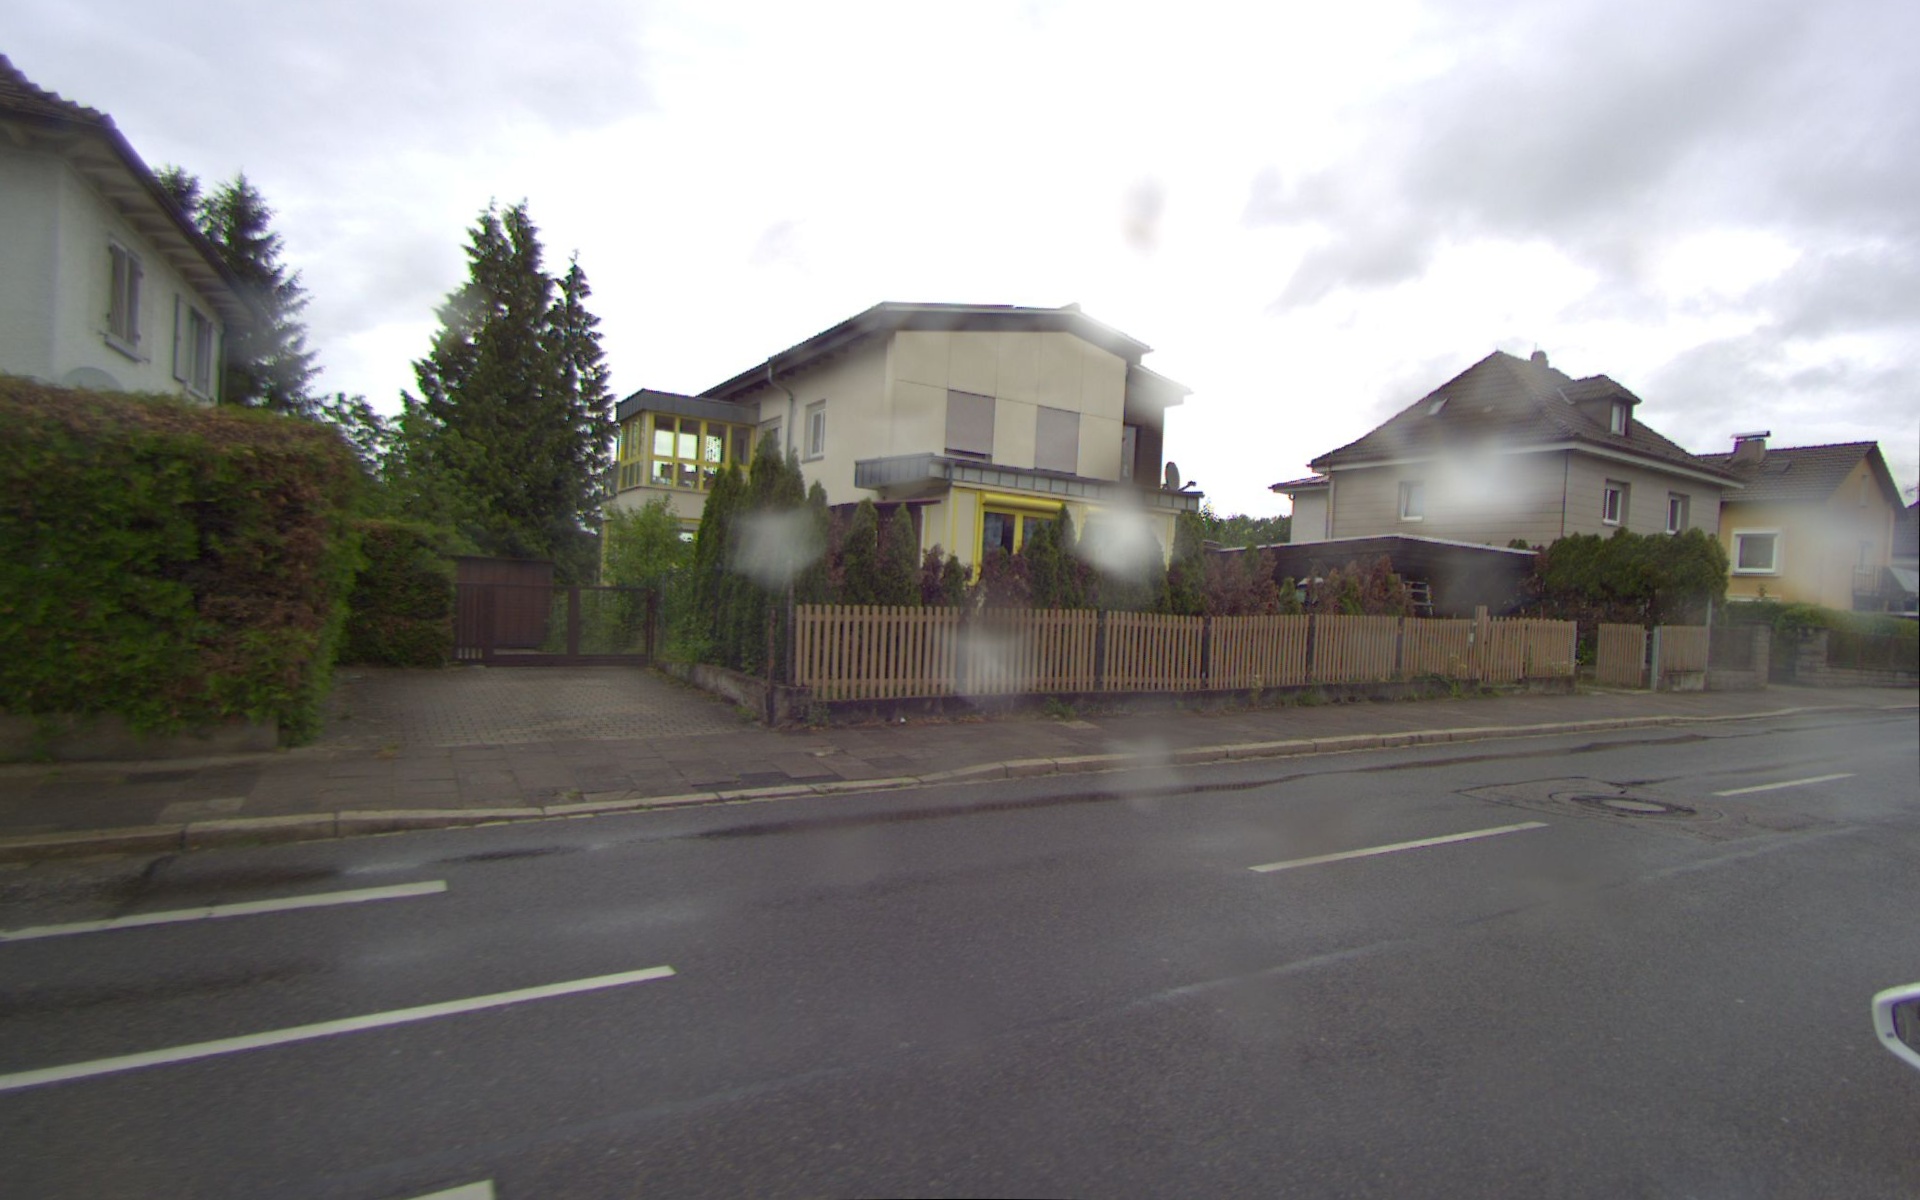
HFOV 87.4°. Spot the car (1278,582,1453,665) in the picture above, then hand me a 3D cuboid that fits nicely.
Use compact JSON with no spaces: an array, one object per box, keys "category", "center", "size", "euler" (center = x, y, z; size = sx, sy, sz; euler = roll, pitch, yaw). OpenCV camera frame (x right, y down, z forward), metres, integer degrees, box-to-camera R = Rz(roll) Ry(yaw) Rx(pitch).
[{"category":"car","center":[10.455,0.602,26.195],"size":[1.973,1.980,3.975],"euler":[2,-1,-25]}]
